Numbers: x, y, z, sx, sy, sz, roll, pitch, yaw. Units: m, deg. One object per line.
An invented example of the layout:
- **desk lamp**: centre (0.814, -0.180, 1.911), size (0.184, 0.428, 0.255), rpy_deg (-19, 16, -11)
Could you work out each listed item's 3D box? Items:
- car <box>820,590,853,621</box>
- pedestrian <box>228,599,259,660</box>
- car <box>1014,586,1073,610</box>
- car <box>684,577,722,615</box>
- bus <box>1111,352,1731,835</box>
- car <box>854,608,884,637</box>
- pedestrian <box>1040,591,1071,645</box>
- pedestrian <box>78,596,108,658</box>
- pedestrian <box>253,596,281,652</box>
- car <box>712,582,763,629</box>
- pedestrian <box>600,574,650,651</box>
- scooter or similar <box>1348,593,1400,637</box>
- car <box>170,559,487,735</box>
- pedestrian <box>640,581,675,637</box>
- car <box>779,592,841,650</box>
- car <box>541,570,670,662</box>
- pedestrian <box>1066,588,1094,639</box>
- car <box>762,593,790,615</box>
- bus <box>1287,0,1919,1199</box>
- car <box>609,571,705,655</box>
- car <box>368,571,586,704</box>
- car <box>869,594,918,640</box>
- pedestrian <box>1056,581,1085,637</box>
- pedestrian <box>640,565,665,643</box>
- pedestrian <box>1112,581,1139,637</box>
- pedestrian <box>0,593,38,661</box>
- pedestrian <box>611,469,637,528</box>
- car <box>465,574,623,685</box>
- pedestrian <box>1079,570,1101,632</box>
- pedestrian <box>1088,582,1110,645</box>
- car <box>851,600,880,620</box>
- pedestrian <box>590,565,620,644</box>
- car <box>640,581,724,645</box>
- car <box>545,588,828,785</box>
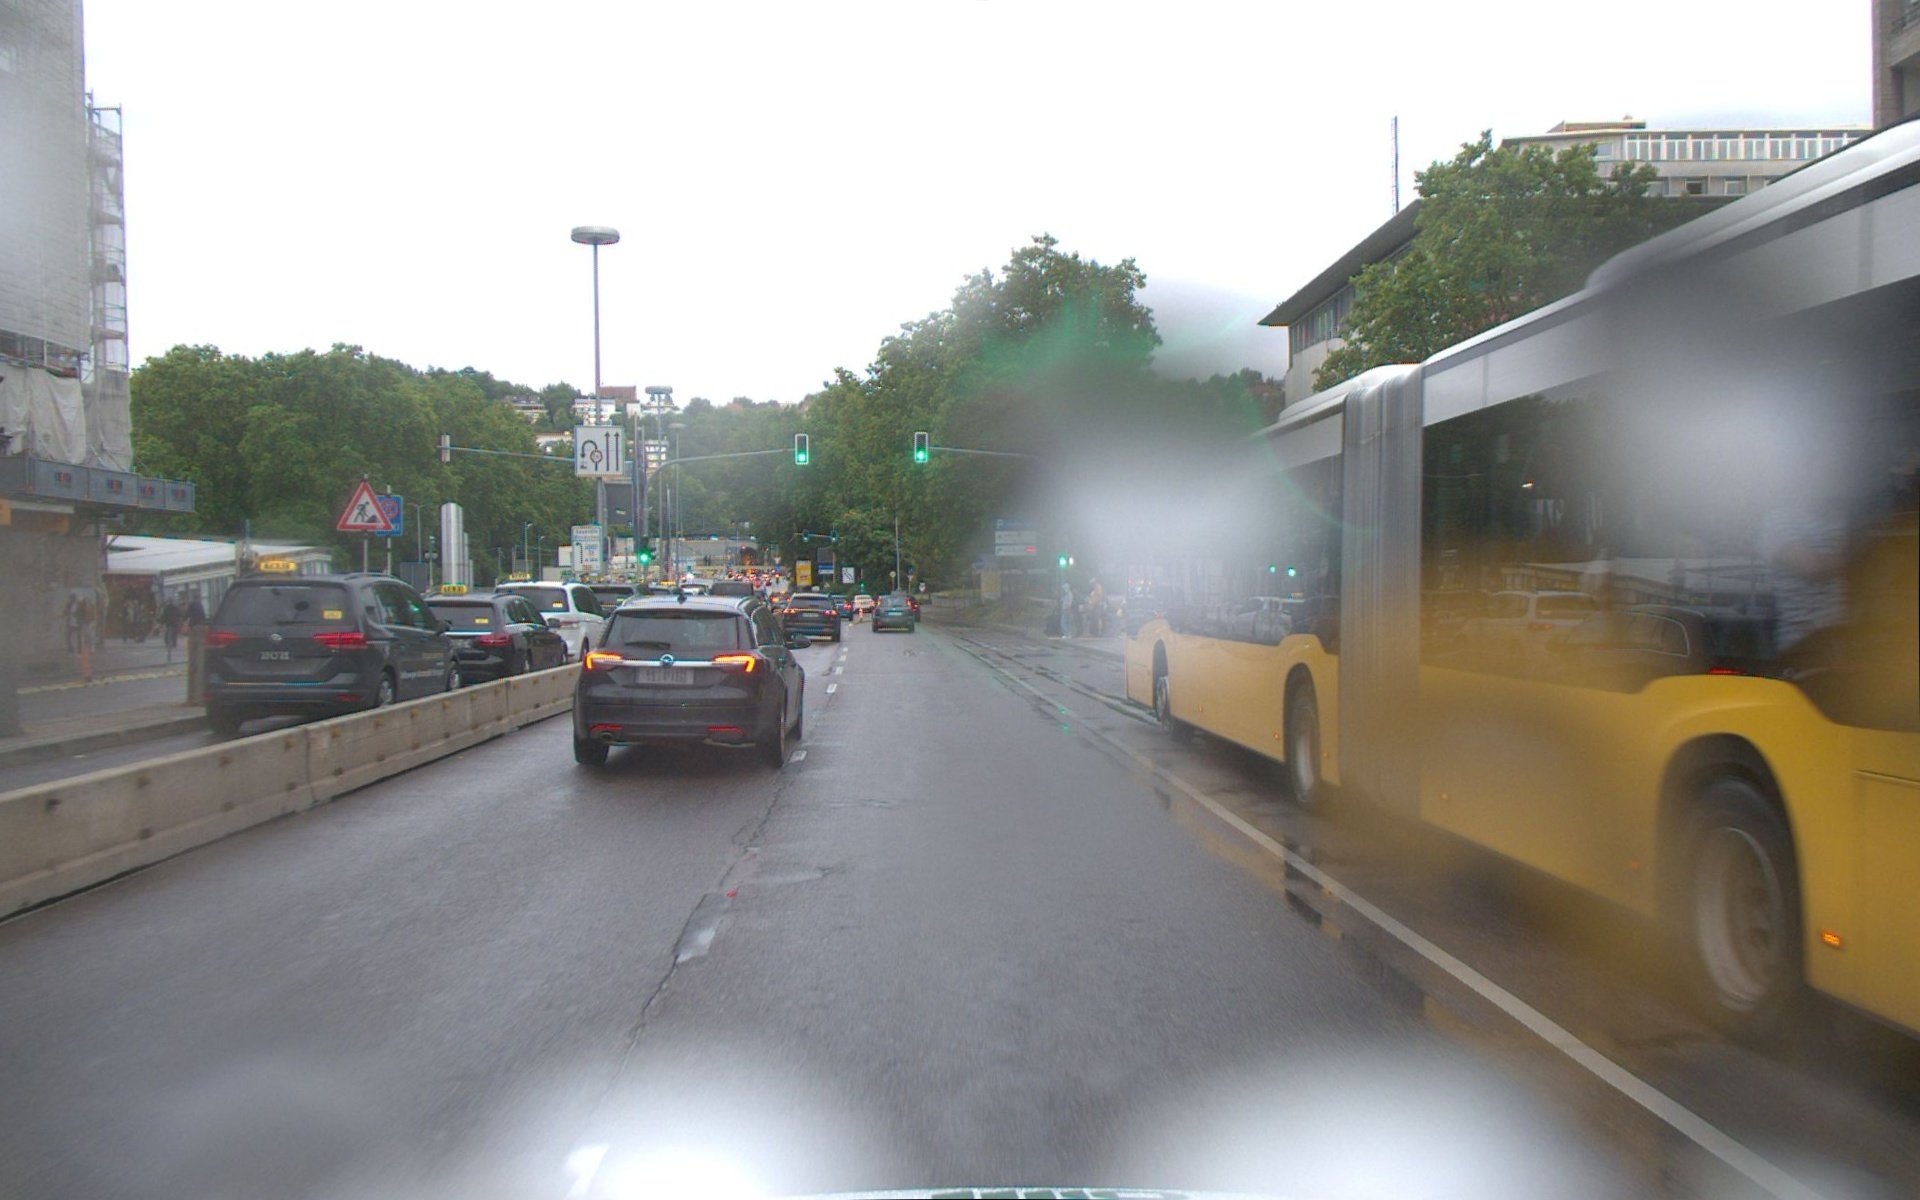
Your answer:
- **car**: centre (-7.242, 0.312, 96.843), size (1.866, 1.747, 3.996), rpy_deg (0, 0, -4)
- **pedestrian**: centre (-22.386, 0.926, 51.705), size (0.625, 1.873, 0.775), rpy_deg (-1, 0, -3)
- **car**: centre (5.526, -0.116, 109.602), size (3.547, 1.532, 1.727), rpy_deg (0, 0, 37)
- **car**: centre (-14.467, -0.208, 93.418), size (1.956, 2.049, 5.361), rpy_deg (0, 0, -7)
- **bus**: centre (3.580, -0.019, 15.872), size (3.051, 3.261, 9.237), rpy_deg (0, 0, -2)
- **car**: centre (-5.051, 1.235, 92.051), size (1.641, 1.609, 3.238), rpy_deg (0, 0, -3)
- **pedestrian**: centre (3.330, 0.633, 57.844), size (0.774, 1.871, 0.946), rpy_deg (-1, 0, -17)
- **pedestrian**: centre (-26.762, 0.831, 51.040), size (0.663, 1.873, 0.717), rpy_deg (0, 0, -16)
- **pedestrian**: centre (-23.444, 0.819, 55.959), size (0.684, 1.873, 0.528), rpy_deg (-1, 0, -4)
- **car**: centre (-9.233, 0.242, 68.916), size (1.955, 1.877, 5.056), rpy_deg (0, 0, -6)
- **pedestrian**: centre (-9.021, 0.326, 44.530), size (0.819, 2.049, 1.024), rpy_deg (0, 0, 35)
- **scooter or similar**: centre (11.966, 0.440, 47.828), size (1.345, 1.252, 0.566), rpy_deg (0, -1, 43)
- **car**: centre (-6.852, 0.456, 18.549), size (1.954, 1.683, 4.638), rpy_deg (-1, 0, -3)
- **pedestrian**: centre (-10.500, 0.314, 57.407), size (0.983, 1.919, 0.683), rpy_deg (-1, 0, 20)
- **car**: centre (-4.639, 0.628, 51.613), size (1.794, 1.715, 4.131), rpy_deg (-1, 0, -4)
- **car**: centre (-7.574, 0.320, 35.791), size (1.954, 1.818, 4.844), rpy_deg (-1, 0, -3)
- **pedestrian**: centre (4.107, 0.466, 56.579), size (0.857, 1.720, 0.758), rpy_deg (-1, 0, -3)
- **car**: centre (-15.603, 0.365, 140.285), size (1.959, 1.859, 3.988), rpy_deg (0, 0, -12)
- **bus**: centre (3.877, -0.085, 6.712), size (3.078, 3.304, 9.132), rpy_deg (0, 0, -2)
- **car**: centre (-7.461, 0.293, 41.086), size (1.679, 1.925, 4.608), rpy_deg (-1, 0, -2)
- **car**: centre (-7.057, 0.495, 24.731), size (2.009, 1.741, 5.052), rpy_deg (-1, 0, -3)
- **car**: centre (-2.640, 0.676, 65.373), size (1.815, 1.747, 3.996), rpy_deg (0, 0, -4)
- **pedestrian**: centre (3.674, 0.293, 55.119), size (0.733, 1.836, 0.706), rpy_deg (-1, 0, -17)
- **pedestrian**: centre (-8.157, 0.096, 43.908), size (0.517, 2.049, 0.890), rpy_deg (-1, 0, -4)
- **pedestrian**: centre (5.486, 0.290, 54.921), size (0.533, 1.836, 0.750), rpy_deg (-1, 0, -30)
- **pedestrian**: centre (-26.353, 0.756, 46.169), size (0.763, 1.873, 0.771), rpy_deg (-1, 0, -3)
- **pedestrian**: centre (-11.163, -3.370, 54.998), size (0.815, 1.919, 0.689), rpy_deg (-1, 2, -12)
- **car**: centre (-7.381, 0.483, 29.801), size (1.954, 1.818, 4.450), rpy_deg (-1, 0, -4)
- **pedestrian**: centre (4.600, 0.027, 58.391), size (0.693, 2.183, 0.722), rpy_deg (-1, 0, 8)
- **pedestrian**: centre (4.819, 0.463, 57.352), size (0.545, 2.183, 0.665), rpy_deg (-1, 0, -17)
- **car**: centre (-7.838, 0.815, 137.090), size (1.782, 1.602, 3.987), rpy_deg (0, 0, -13)
- **pedestrian**: centre (-9.315, 0.117, 43.417), size (0.609, 2.049, 0.836), rpy_deg (-1, 0, -3)
- **car**: centre (-7.895, 0.343, 47.351), size (1.750, 1.715, 4.665), rpy_deg (-1, 0, -2)
- **car**: centre (-2.343, 0.672, 15.452), size (1.839, 1.534, 4.851), rpy_deg (0, 0, 0)
